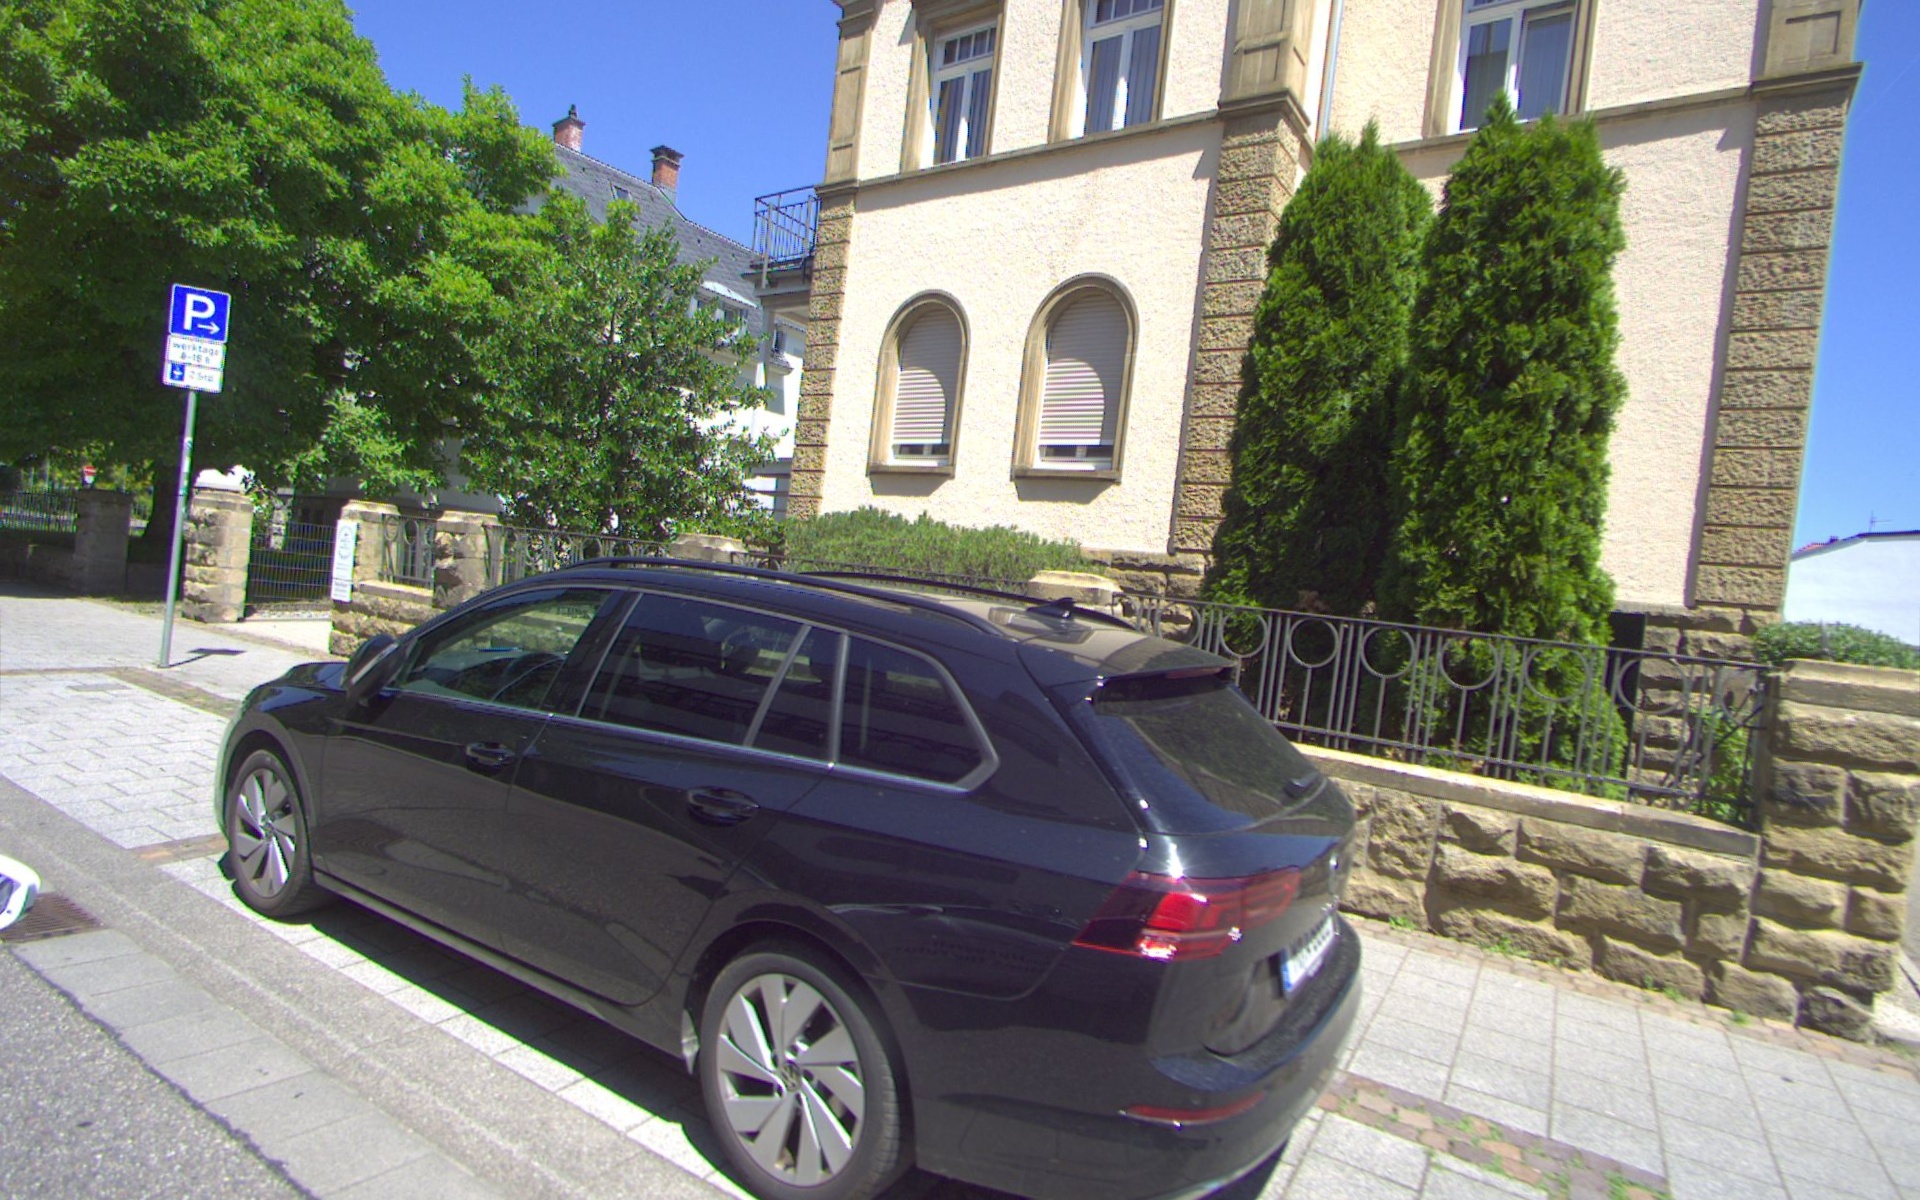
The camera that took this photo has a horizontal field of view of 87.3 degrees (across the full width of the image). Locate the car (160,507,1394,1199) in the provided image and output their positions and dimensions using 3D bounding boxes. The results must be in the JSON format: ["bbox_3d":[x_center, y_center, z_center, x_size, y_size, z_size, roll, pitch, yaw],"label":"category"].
[{"bbox_3d":[-0.962,0.588,3.615,4.325,1.466,1.631,7,3,32],"label":"car"}]
